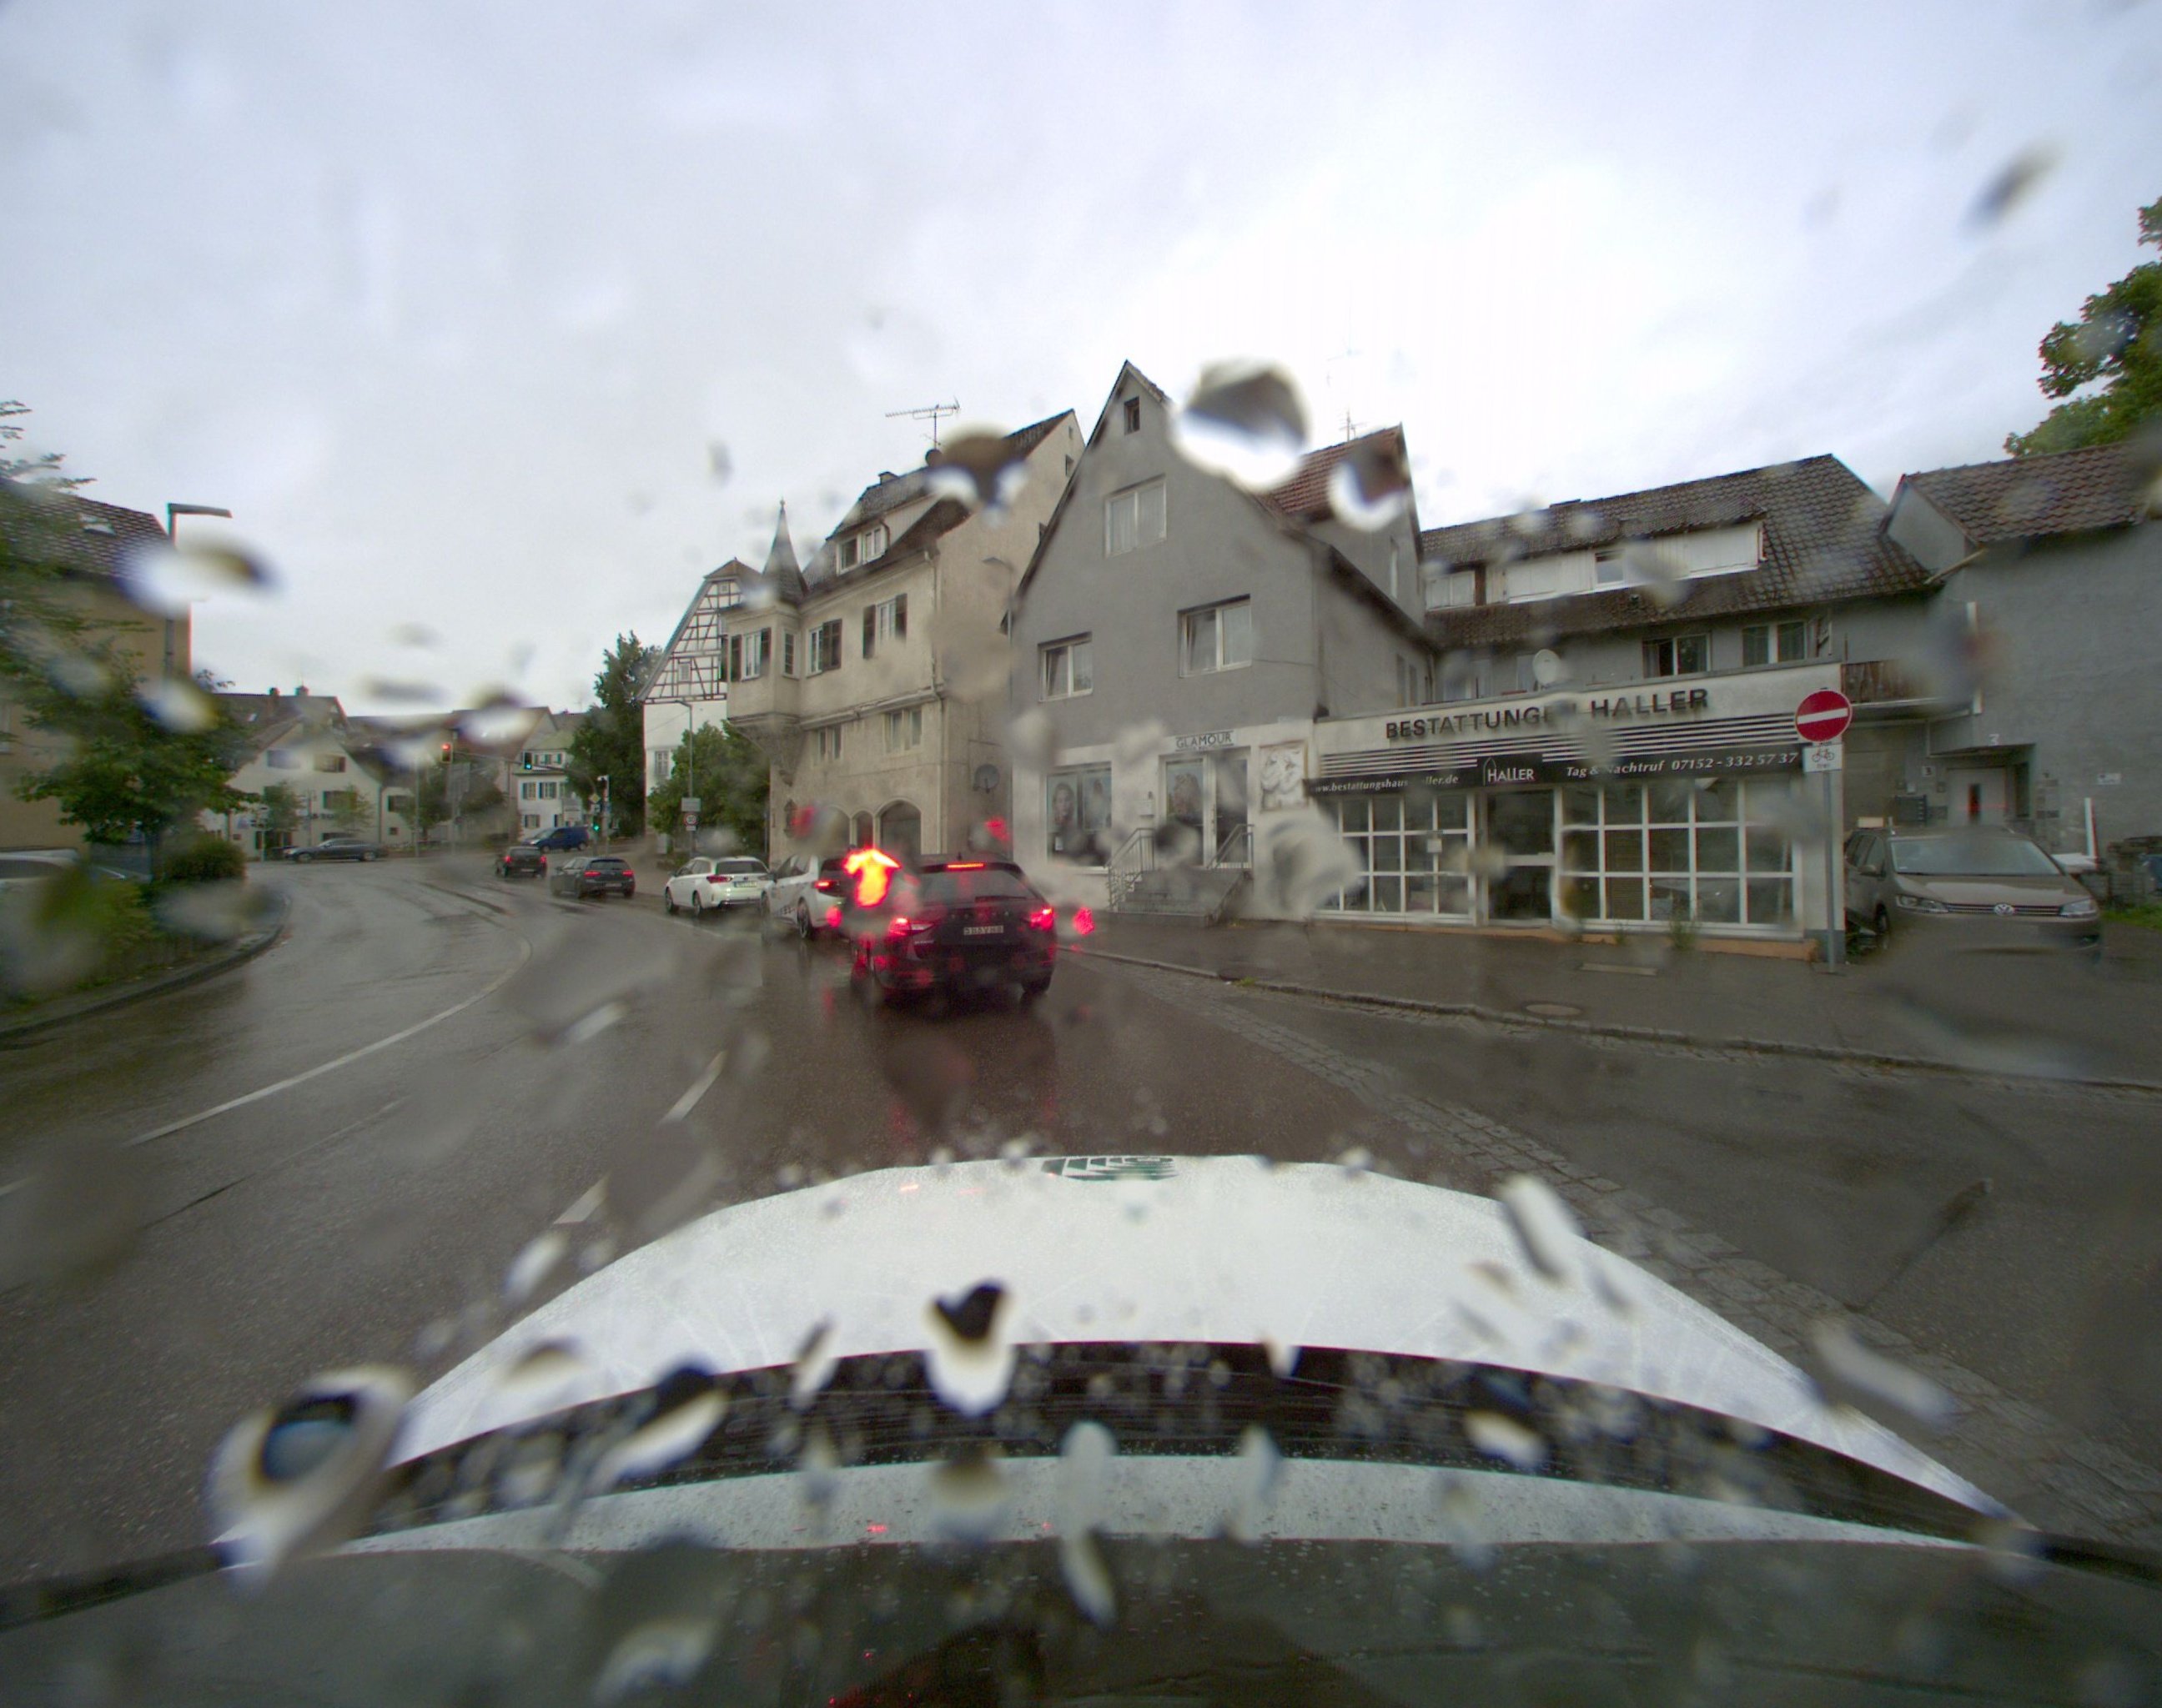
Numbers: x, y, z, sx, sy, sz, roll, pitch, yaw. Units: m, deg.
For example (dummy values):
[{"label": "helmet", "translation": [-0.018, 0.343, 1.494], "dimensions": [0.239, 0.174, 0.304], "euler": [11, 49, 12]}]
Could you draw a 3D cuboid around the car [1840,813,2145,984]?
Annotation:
[{"label": "car", "translation": [11.884, 0.406, 10.992], "dimensions": [1.974, 1.771, 4.027], "euler": [0, 3, 37]}]

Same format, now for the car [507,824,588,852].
[{"label": "car", "translation": [-37.682, -1.107, 57.628], "dimensions": [1.975, 1.882, 4.403], "euler": [-1, 0, 25]}]

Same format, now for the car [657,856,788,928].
[{"label": "car", "translation": [-9.218, 0.897, 20.736], "dimensions": [1.901, 1.596, 4.274], "euler": [-1, 0, -40]}]

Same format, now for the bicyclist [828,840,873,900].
[{"label": "bicyclist", "translation": [-6.017, 0.403, 21.257], "dimensions": [1.017, 1.517, 0.690], "euler": [1, 1, 40]}]

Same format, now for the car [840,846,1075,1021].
[{"label": "car", "translation": [-1.648, 0.674, 9.219], "dimensions": [1.892, 1.448, 4.329], "euler": [-1, 0, -19]}]

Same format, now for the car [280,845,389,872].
[{"label": "car", "translation": [-43.919, 0.246, 47.992], "dimensions": [1.839, 1.546, 4.523], "euler": [-1, 0, 39]}]

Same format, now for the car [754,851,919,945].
[{"label": "car", "translation": [-4.680, 0.719, 15.190], "dimensions": [1.870, 1.473, 3.958], "euler": [-1, 0, -34]}]

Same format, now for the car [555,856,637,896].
[{"label": "car", "translation": [-17.456, 0.751, 29.221], "dimensions": [2.010, 1.302, 3.954], "euler": [-1, 0, -39]}]

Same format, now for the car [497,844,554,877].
[{"label": "car", "translation": [-26.842, 0.310, 39.442], "dimensions": [1.590, 1.524, 3.406], "euler": [-1, 0, -23]}]

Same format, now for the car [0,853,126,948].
[{"label": "car", "translation": [-19.662, 0.813, 14.042], "dimensions": [1.977, 1.629, 3.663], "euler": [0, 0, 19]}]

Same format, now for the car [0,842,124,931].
[{"label": "car", "translation": [-25.745, 0.881, 18.349], "dimensions": [1.938, 1.824, 4.966], "euler": [2, 7, 27]}]

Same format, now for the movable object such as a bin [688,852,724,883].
[{"label": "movable object such as a bin", "translation": [-16.172, 0.572, 35.125], "dimensions": [1.164, 1.313, 1.173], "euler": [0, 0, -38]}]
